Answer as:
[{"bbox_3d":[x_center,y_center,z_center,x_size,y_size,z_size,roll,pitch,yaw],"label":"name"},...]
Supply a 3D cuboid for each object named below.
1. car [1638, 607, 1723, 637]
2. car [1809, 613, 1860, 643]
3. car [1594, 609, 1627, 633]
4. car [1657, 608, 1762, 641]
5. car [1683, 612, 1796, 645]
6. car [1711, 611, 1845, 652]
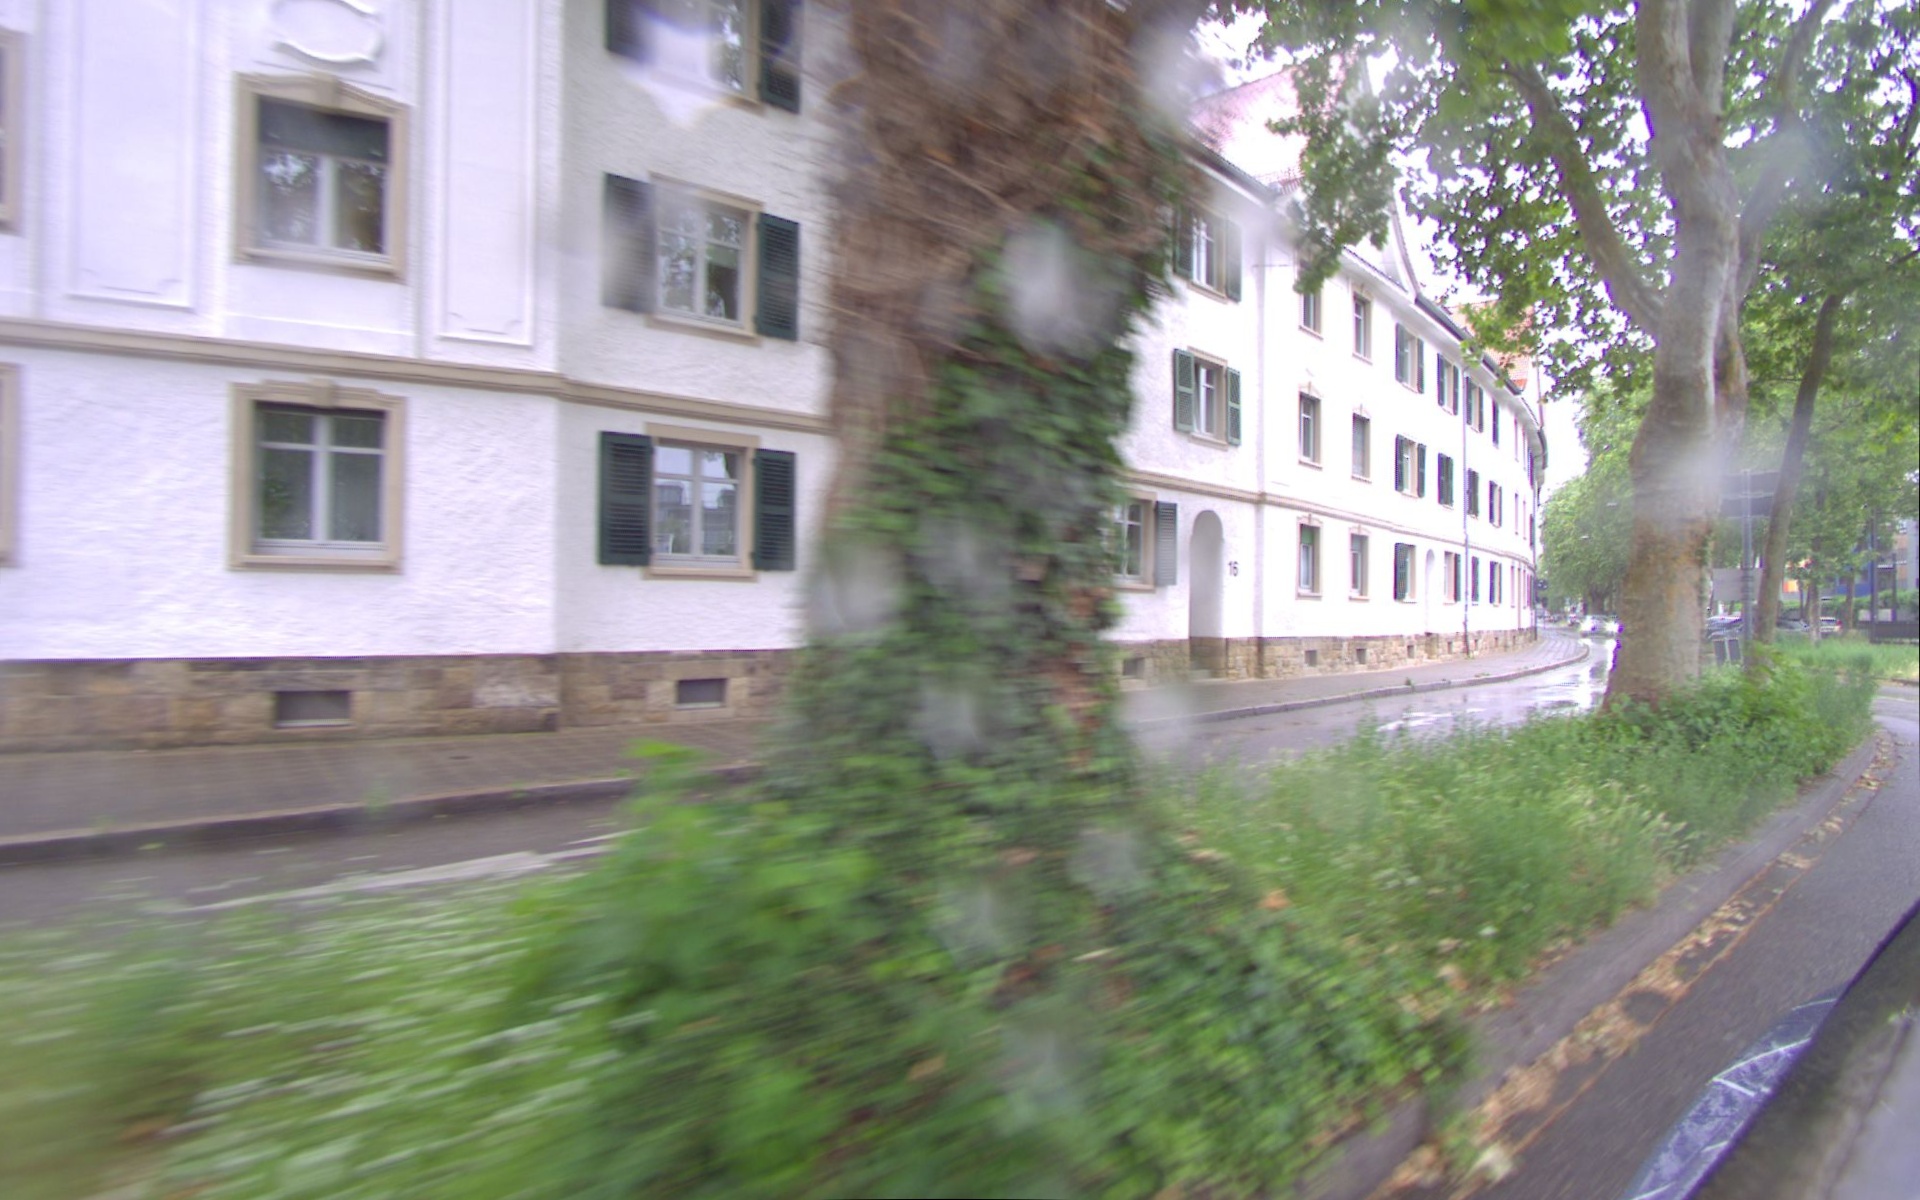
[{"bbox_3d":[55.057,1.634,77.449,1.960,2.039,4.899,1,1,-30],"label":"car"},{"bbox_3d":[55.670,1.753,64.492,1.678,1.745,3.655,2,1,28],"label":"car"},{"bbox_3d":[46.444,1.503,72.298,1.838,1.616,4.169,1,0,31],"label":"car"},{"bbox_3d":[41.605,1.350,56.244,1.715,1.633,4.335,2,1,-34],"label":"car"},{"bbox_3d":[40.761,1.458,53.045,1.713,1.526,4.340,1,1,-28],"label":"car"},{"bbox_3d":[36.446,1.380,45.214,1.892,1.560,4.236,1,1,-30],"label":"car"}]
